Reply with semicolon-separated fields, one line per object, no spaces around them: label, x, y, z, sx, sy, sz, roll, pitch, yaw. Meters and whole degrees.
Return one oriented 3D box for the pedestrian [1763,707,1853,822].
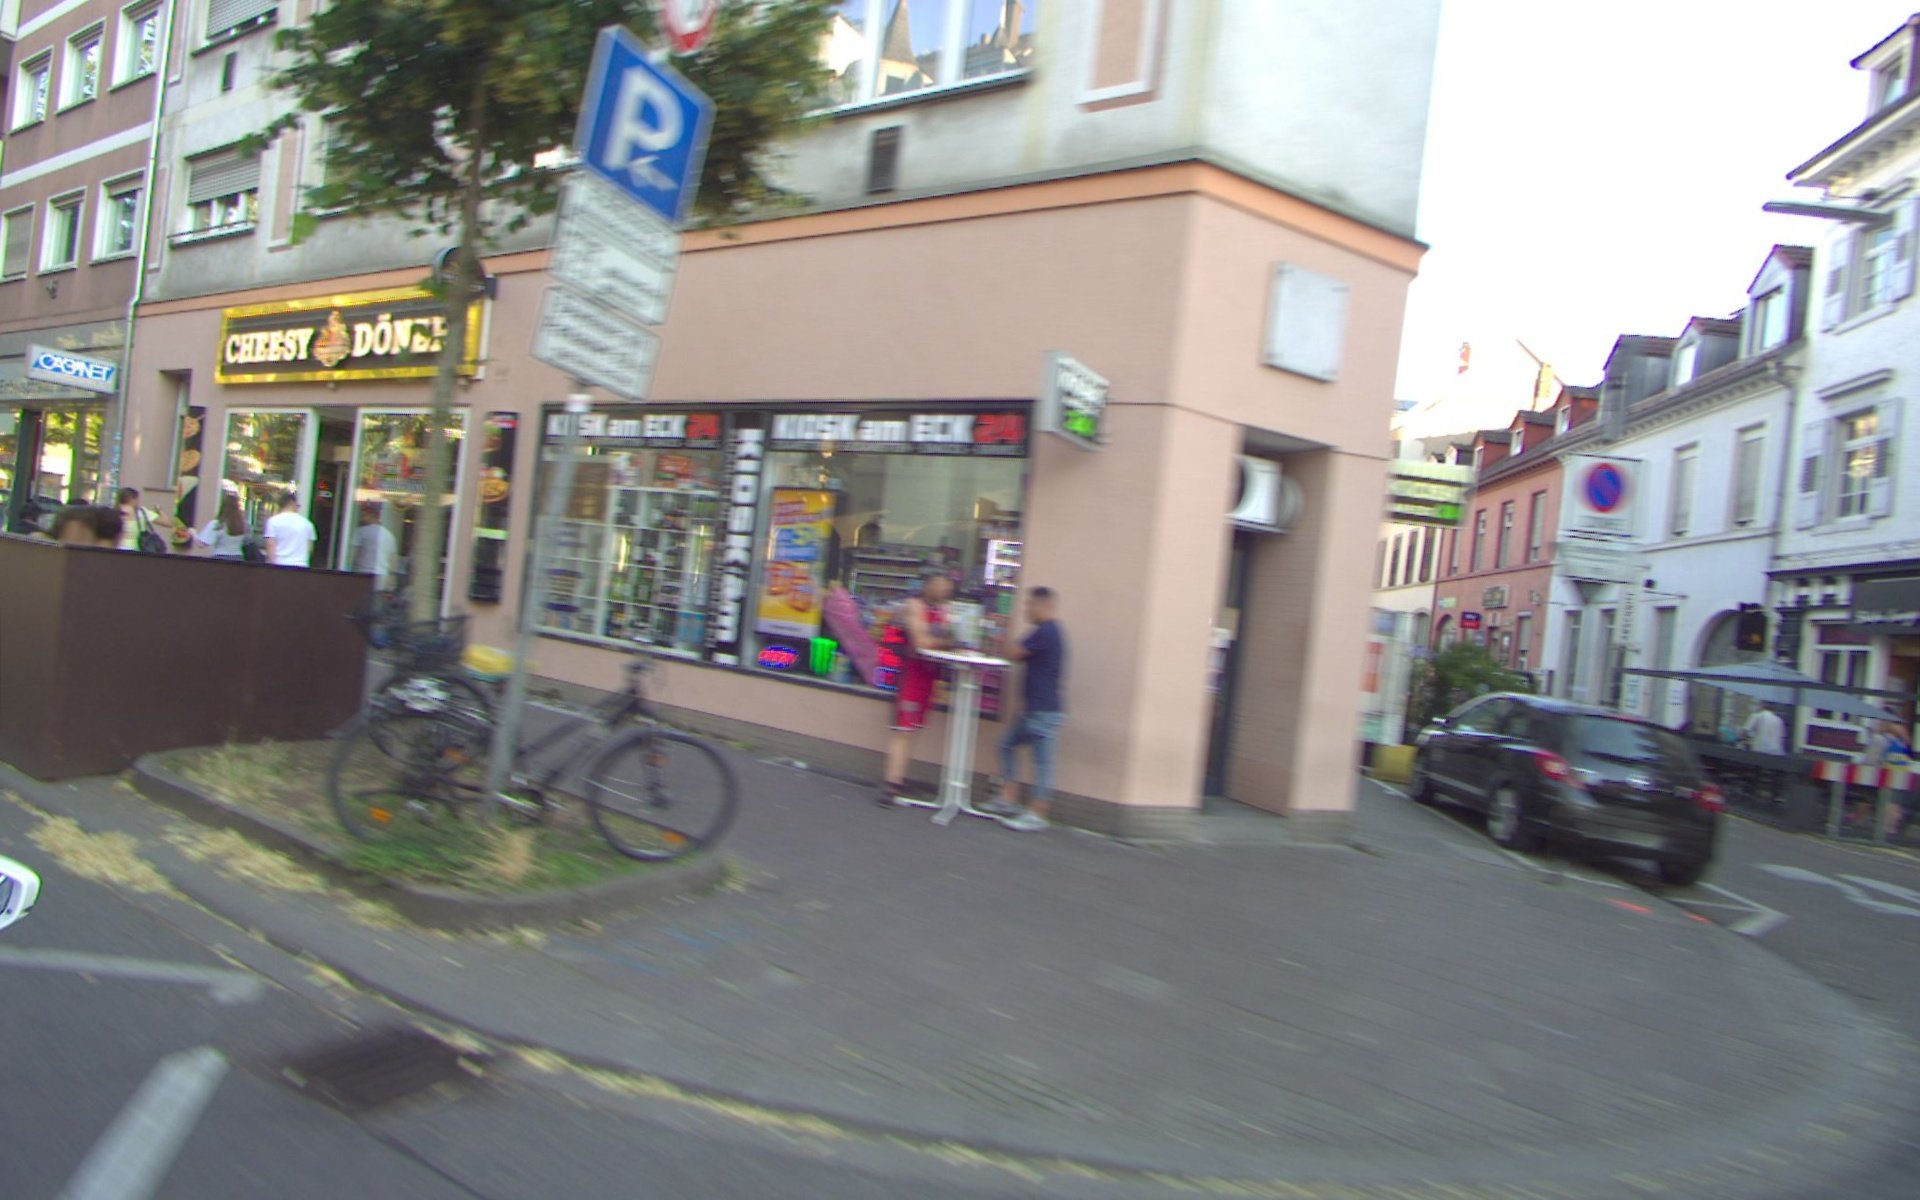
pedestrian;13.093;2.512;15.569;0.827;1.591;0.798;7;0;34

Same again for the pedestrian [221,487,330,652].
pedestrian;-8.078;-0.361;11.871;0.879;1.827;0.697;7;0;40

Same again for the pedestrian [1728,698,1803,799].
pedestrian;14.575;2.667;18.225;0.827;1.657;0.798;7;0;34

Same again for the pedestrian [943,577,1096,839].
pedestrian;0.402;0.694;6.748;0.652;1.605;0.567;8;3;32

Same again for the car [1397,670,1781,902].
car;6.001;1.661;10.191;1.755;1.506;3.678;9;-1;8

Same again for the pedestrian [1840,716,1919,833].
pedestrian;14.130;2.628;15.332;0.827;1.591;0.798;7;0;34

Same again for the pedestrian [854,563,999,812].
pedestrian;-0.236;0.599;7.135;0.652;1.620;0.567;8;3;32

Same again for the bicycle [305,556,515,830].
bicycle;-3.035;0.420;5.447;0.595;1.192;1.826;7;0;-38

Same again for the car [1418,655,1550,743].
car;14.414;2.660;27.934;1.755;1.988;4.050;7;-1;8

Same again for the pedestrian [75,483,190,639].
pedestrian;-9.454;-0.447;11.494;0.900;1.645;0.795;7;0;44

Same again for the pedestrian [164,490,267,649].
pedestrian;-8.548;-0.352;11.547;0.879;1.701;0.630;7;0;40

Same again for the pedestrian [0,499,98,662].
pedestrian;-8.506;-0.186;9.133;0.768;1.395;0.727;7;0;32

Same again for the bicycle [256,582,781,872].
bicycle;-1.903;0.592;4.565;1.937;1.087;0.701;7;0;-27
